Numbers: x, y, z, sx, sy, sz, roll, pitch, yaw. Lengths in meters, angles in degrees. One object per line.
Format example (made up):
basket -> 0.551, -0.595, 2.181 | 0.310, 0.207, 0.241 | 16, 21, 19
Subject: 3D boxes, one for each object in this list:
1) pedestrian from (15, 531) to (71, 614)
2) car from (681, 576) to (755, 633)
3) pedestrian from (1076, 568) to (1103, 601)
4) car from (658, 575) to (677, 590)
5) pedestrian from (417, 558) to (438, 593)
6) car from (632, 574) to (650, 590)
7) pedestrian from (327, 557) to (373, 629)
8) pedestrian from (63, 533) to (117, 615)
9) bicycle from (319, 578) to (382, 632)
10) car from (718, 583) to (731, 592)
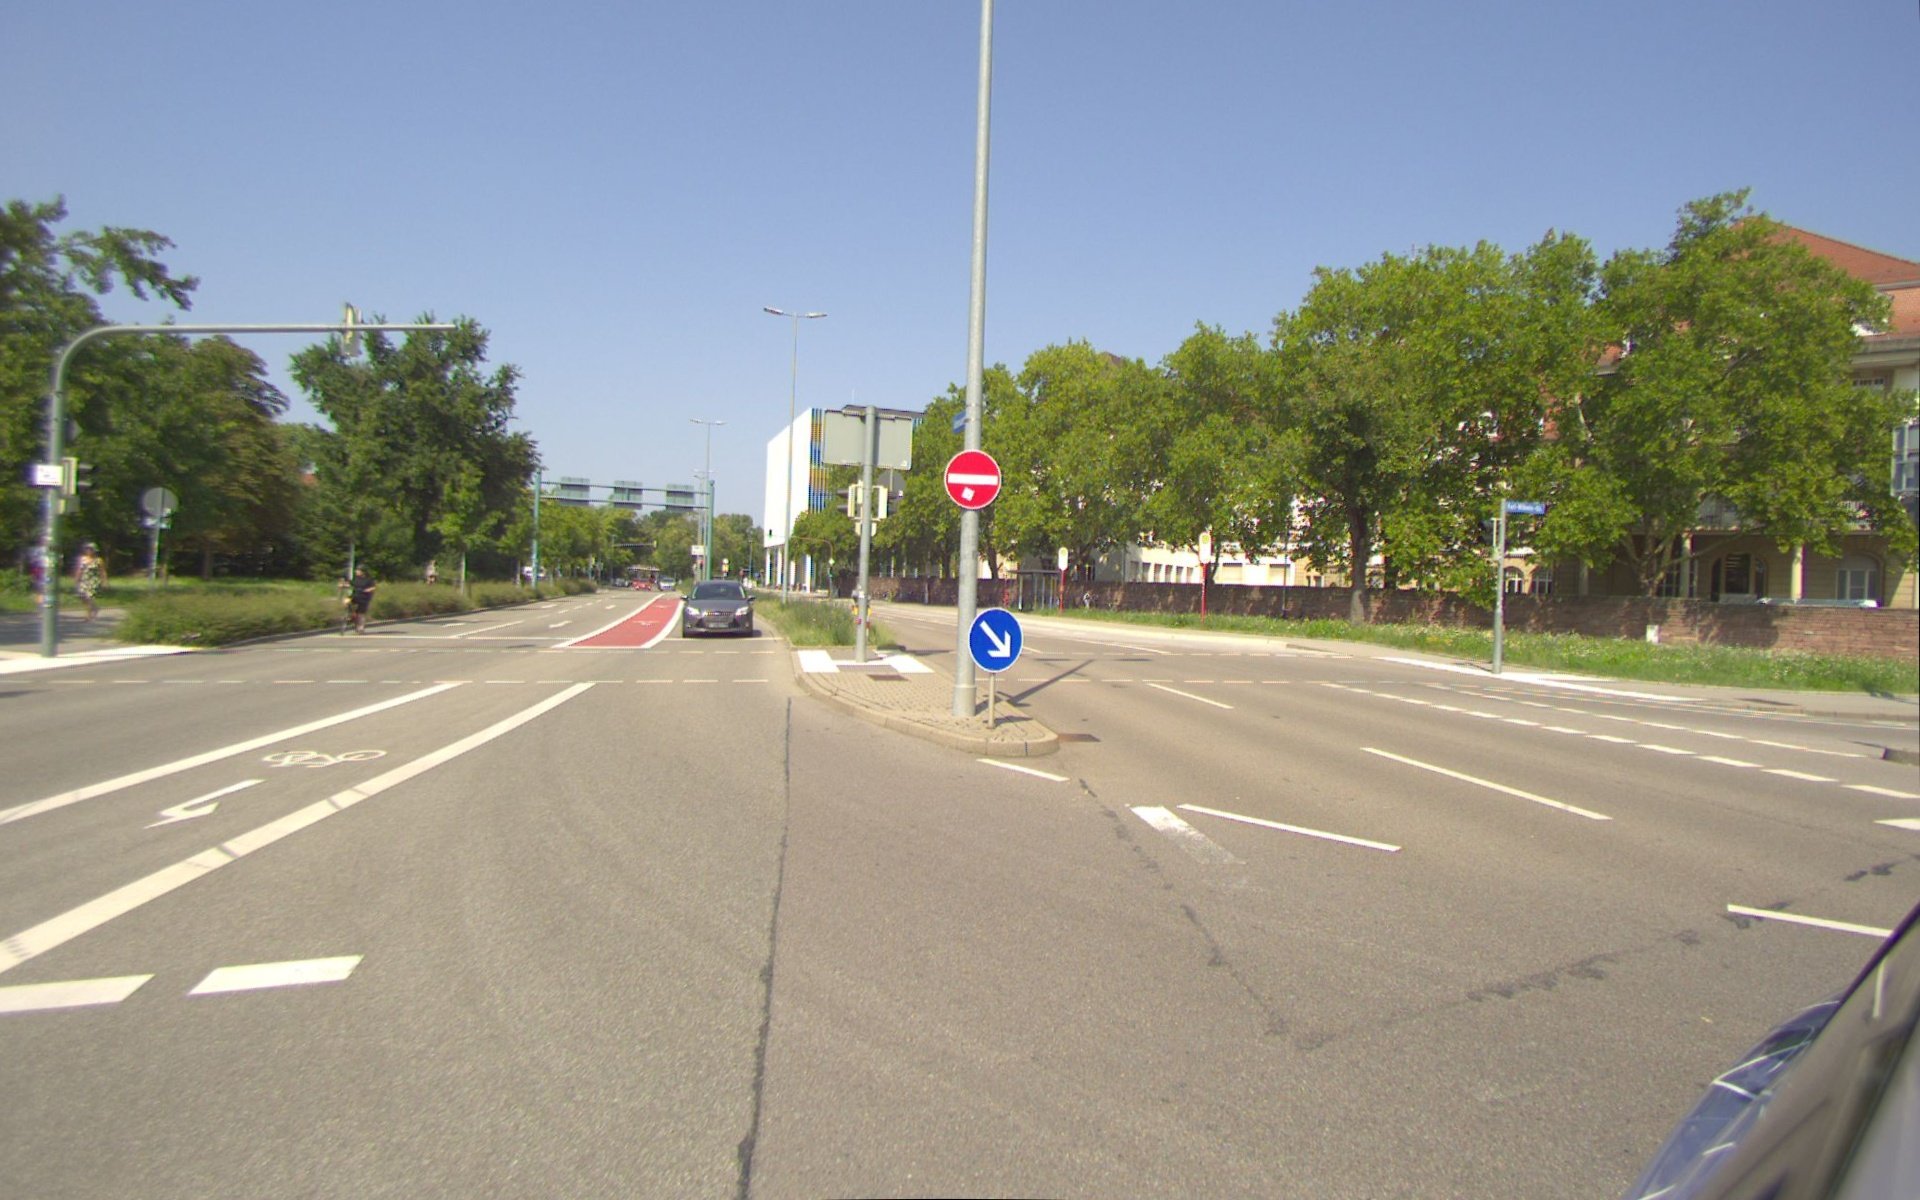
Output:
pedestrian -> -20.257, -0.600, 22.377 | 0.679, 1.793, 0.589 | 2, 0, -14
car -> -6.342, 0.081, 26.341 | 1.754, 1.374, 3.432 | 0, 1, -15
pedestrian -> 8.241, -1.013, 64.419 | 1.052, 2.039, 1.234 | 2, 1, -38
car -> -34.922, -2.148, 120.927 | 1.958, 1.699, 4.009 | 2, 1, -15
pedestrian -> -28.088, -1.277, 53.360 | 0.777, 1.790, 0.828 | 2, 0, -14
car -> -41.009, -2.307, 130.130 | 2.040, 1.941, 4.205 | 2, 1, -18
pedestrian -> -14.605, -0.166, 24.235 | 0.764, 1.690, 0.550 | 2, 0, -14
pedestrian -> -19.528, -0.577, 22.729 | 0.679, 1.793, 0.589 | 2, 0, -14
bicycle -> -14.642, 0.100, 24.350 | 0.770, 1.227, 1.793 | 2, 1, -14
car -> -33.176, -1.802, 142.456 | 1.557, 1.151, 3.271 | 3, 1, -15
